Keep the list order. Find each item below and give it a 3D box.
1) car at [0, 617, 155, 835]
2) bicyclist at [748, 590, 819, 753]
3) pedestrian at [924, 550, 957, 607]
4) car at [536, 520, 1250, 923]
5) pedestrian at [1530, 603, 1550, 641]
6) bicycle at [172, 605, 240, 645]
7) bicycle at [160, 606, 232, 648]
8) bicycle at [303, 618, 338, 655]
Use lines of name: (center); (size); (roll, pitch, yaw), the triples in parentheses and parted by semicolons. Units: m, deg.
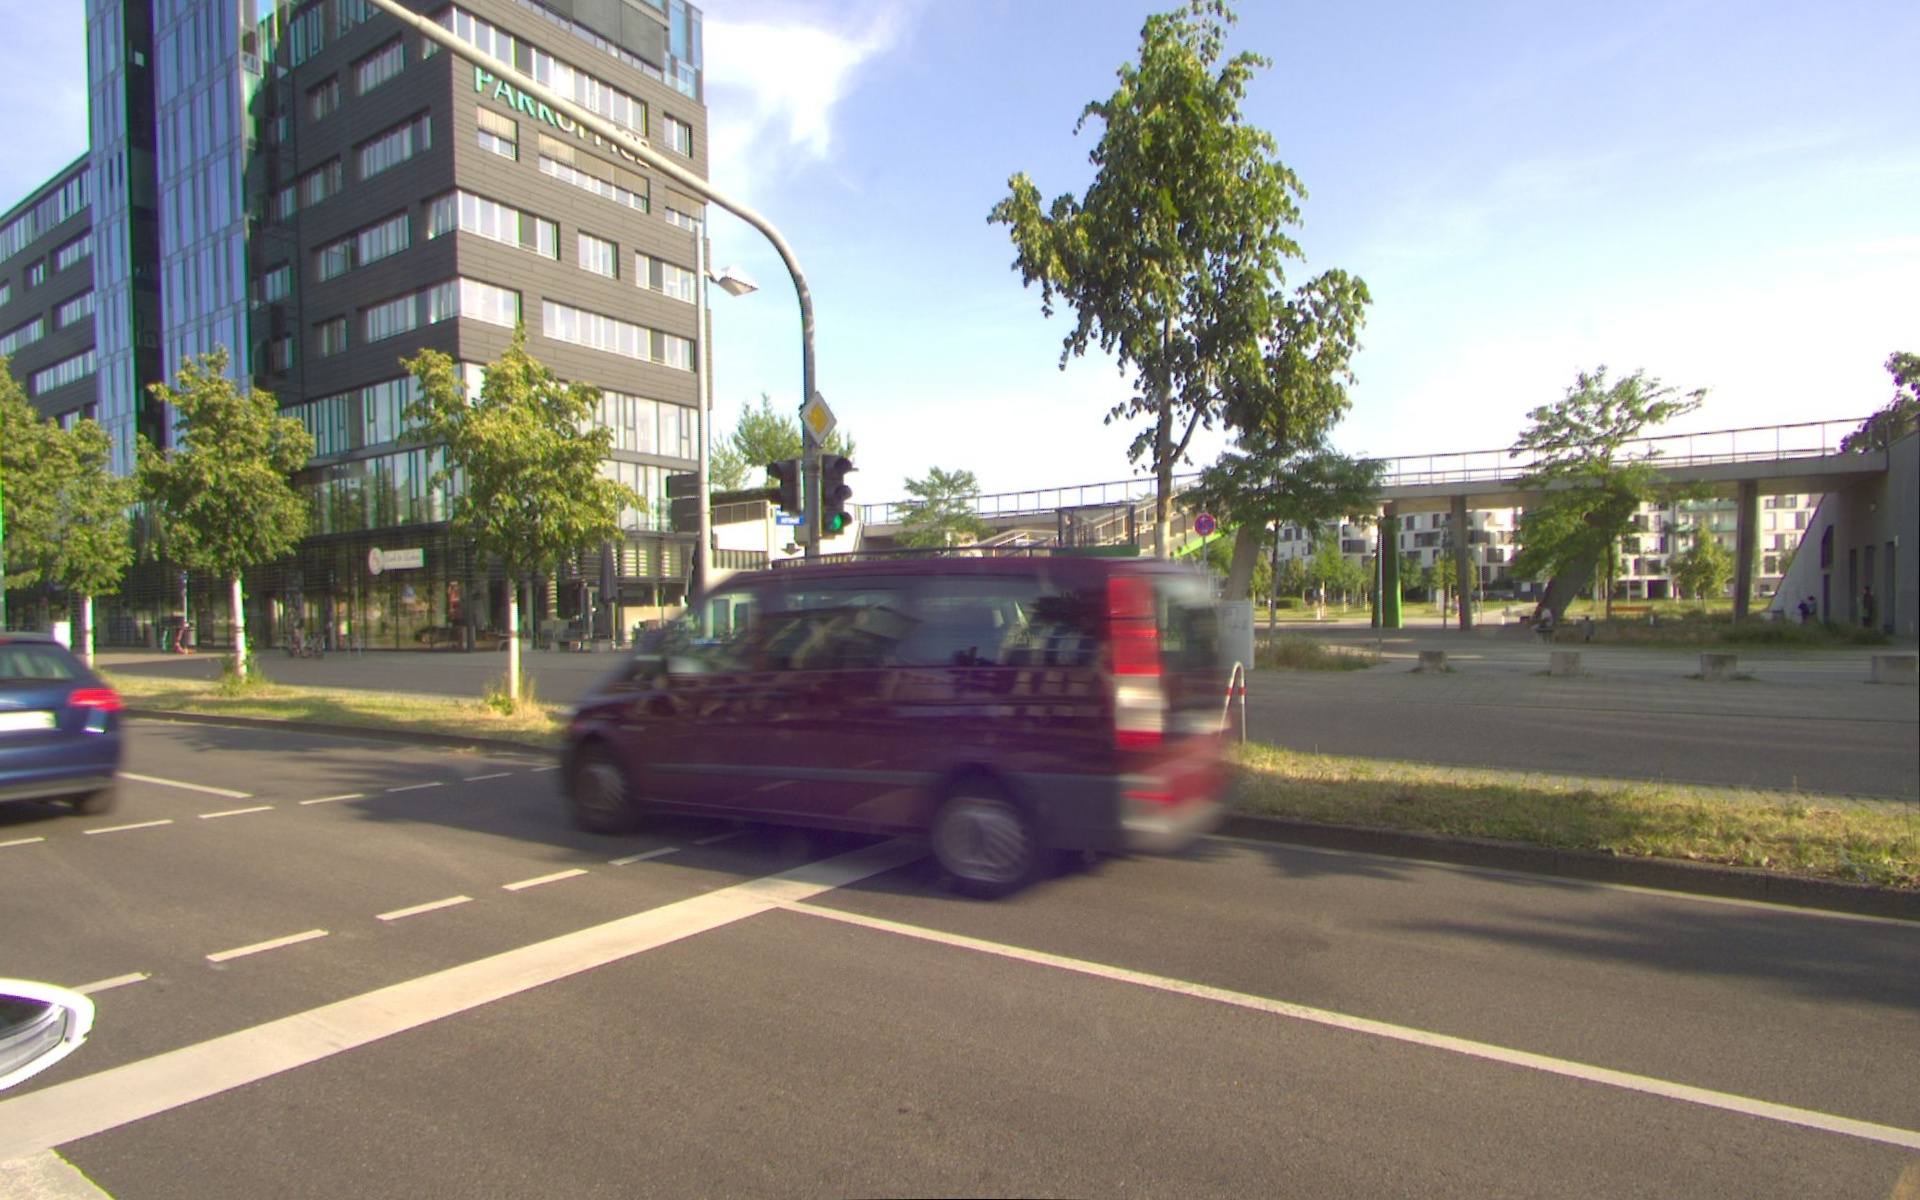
car: (-8.135, 0.880, 7.710); (3.976, 1.453, 1.749); (-1, -2, 31)
bicyclist: (-1.937, 0.770, 11.010); (0.533, 1.728, 0.574); (-1, -1, 30)
pedestrian: (-0.608, -0.651, 30.963); (0.689, 1.713, 0.779); (1, -2, -44)
car: (-0.649, 0.652, 6.833); (4.754, 1.915, 1.796); (-1, -2, 33)
pedestrian: (20.011, 0.770, 34.557); (0.573, 1.310, 0.595); (-1, -1, 33)
bicycle: (-34.181, 1.158, 45.421); (0.548, 1.768, 2.422); (-1, -2, 42)
bicycle: (-34.944, 1.253, 45.828); (0.563, 1.881, 2.551); (-1, -2, 42)
bicycle: (-24.056, 1.379, 37.655); (1.868, 1.363, 0.372); (-2, -2, 34)
